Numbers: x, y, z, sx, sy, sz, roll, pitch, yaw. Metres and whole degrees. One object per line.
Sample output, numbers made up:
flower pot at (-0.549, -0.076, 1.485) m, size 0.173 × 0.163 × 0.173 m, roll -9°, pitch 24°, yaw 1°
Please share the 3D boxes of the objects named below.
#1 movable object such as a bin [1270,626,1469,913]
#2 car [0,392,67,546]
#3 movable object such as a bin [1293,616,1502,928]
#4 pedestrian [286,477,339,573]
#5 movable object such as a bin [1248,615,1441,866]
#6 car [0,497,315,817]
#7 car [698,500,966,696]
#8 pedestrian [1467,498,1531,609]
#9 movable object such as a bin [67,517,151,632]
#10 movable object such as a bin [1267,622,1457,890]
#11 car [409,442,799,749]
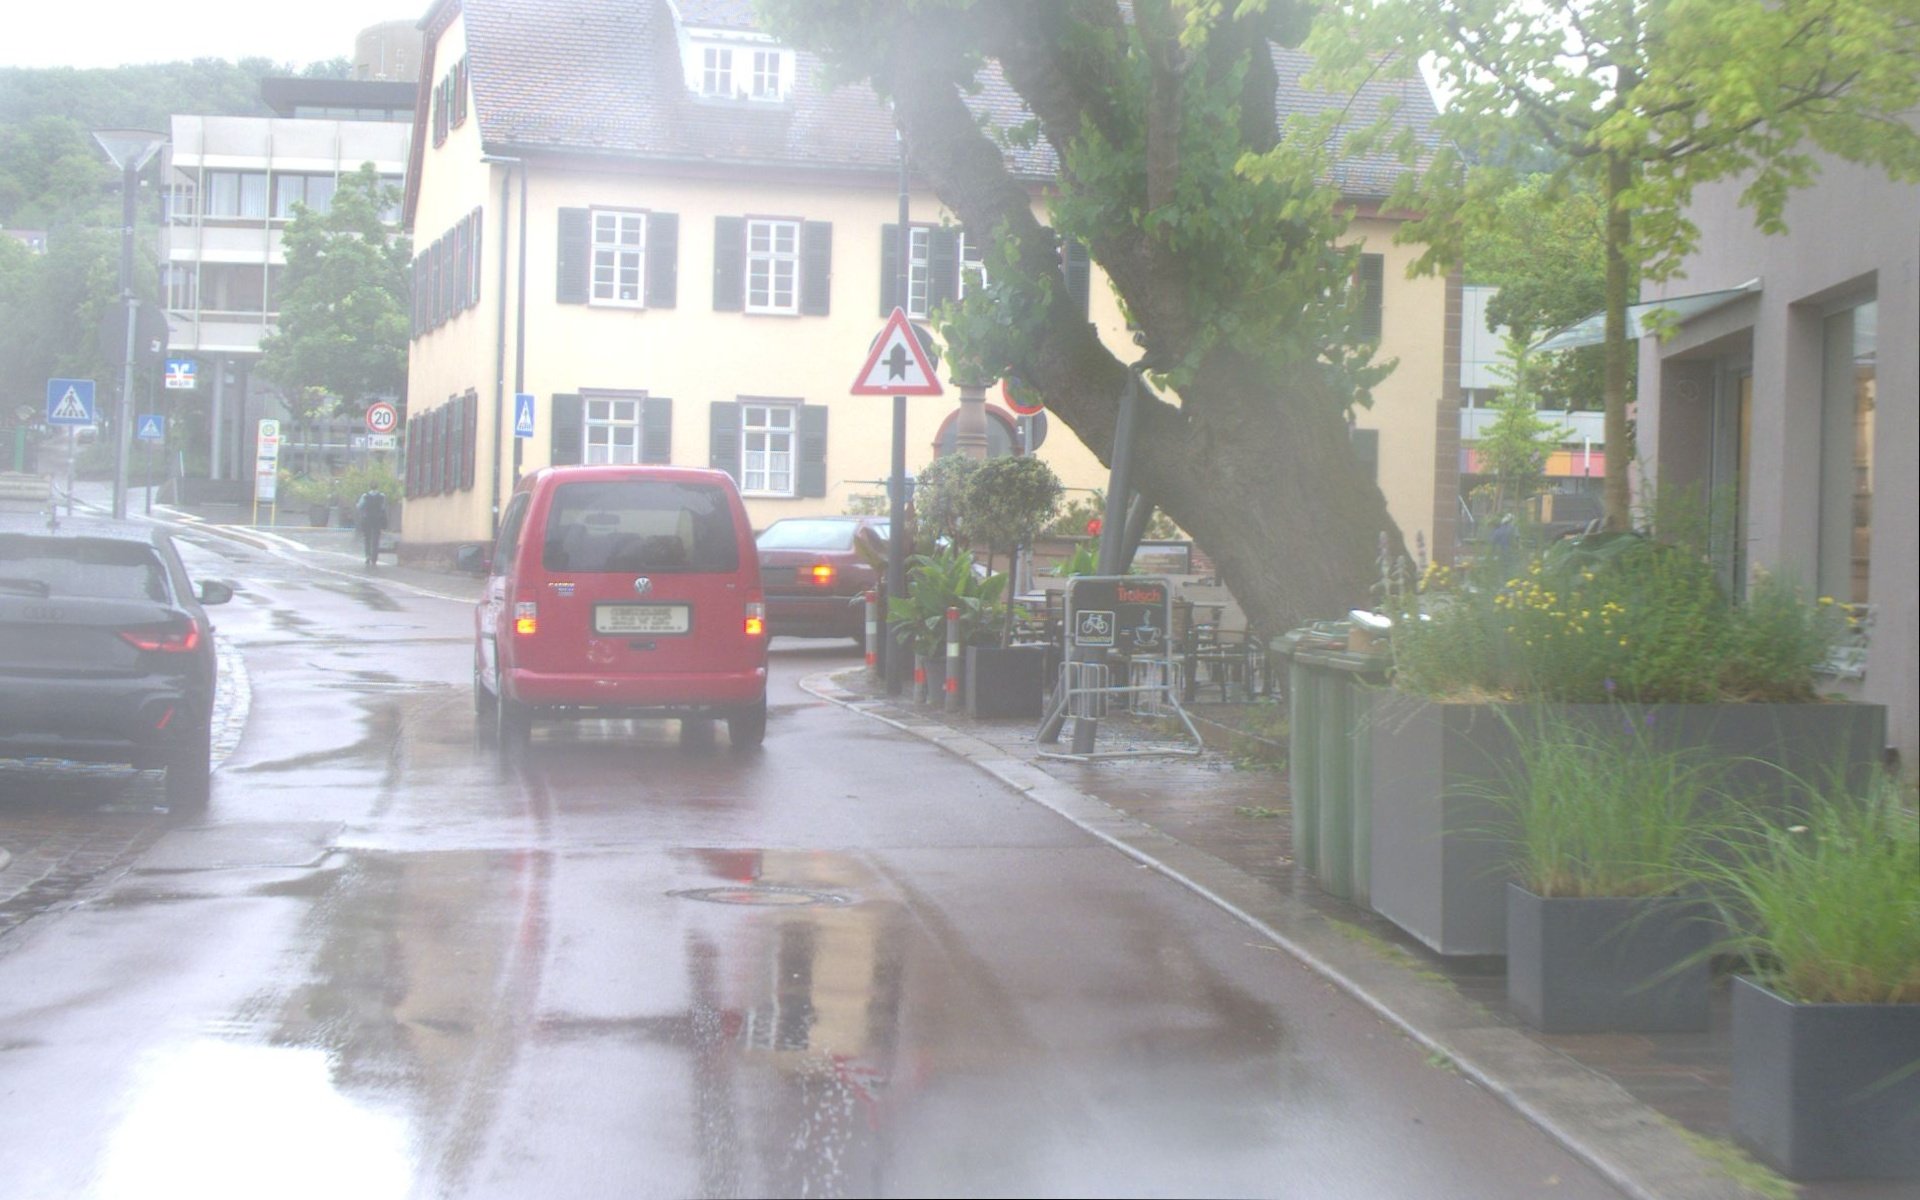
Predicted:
movable object such as a bin at (1.641, 0.672, 13.835) m, size 0.631 × 1.100 × 0.579 m, roll 3°, pitch 0°, yaw -6°
car at (-17.886, -2.359, 63.127) m, size 2.299 × 2.593 × 6.960 m, roll 3°, pitch 0°, yaw -19°
movable object such as a bin at (1.680, 0.651, 13.249) m, size 0.631 × 1.146 × 0.579 m, roll 3°, pitch 0°, yaw -6°
pedestrian at (-12.879, -1.487, 68.362) m, size 0.764 × 1.836 × 0.901 m, roll 3°, pitch 0°, yaw 3°
movable object such as a bin at (1.716, 0.620, 15.424) m, size 0.721 × 1.069 × 0.649 m, roll 3°, pitch 0°, yaw -3°
car at (-4.574, 0.235, 19.068) m, size 1.787 × 1.490 × 4.002 m, roll 3°, pitch 2°, yaw -12°
car at (-1.231, -0.001, 35.078) m, size 1.994 × 1.793 × 3.998 m, roll 3°, pitch 0°, yaw 8°
pedestrian at (9.170, -0.777, 58.513) m, size 0.898 × 1.836 × 0.766 m, roll 3°, pitch 0°, yaw 0°
movable object such as a bin at (-8.472, -0.250, 34.250) m, size 0.714 × 1.102 × 0.600 m, roll 3°, pitch 0°, yaw -9°
movable object such as a bin at (1.722, 0.660, 14.797) m, size 0.677 × 1.099 × 0.579 m, roll 3°, pitch 0°, yaw -3°
car at (-2.511, -0.105, 23.306) m, size 1.893 × 1.805 × 4.002 m, roll 3°, pitch 2°, yaw -16°
